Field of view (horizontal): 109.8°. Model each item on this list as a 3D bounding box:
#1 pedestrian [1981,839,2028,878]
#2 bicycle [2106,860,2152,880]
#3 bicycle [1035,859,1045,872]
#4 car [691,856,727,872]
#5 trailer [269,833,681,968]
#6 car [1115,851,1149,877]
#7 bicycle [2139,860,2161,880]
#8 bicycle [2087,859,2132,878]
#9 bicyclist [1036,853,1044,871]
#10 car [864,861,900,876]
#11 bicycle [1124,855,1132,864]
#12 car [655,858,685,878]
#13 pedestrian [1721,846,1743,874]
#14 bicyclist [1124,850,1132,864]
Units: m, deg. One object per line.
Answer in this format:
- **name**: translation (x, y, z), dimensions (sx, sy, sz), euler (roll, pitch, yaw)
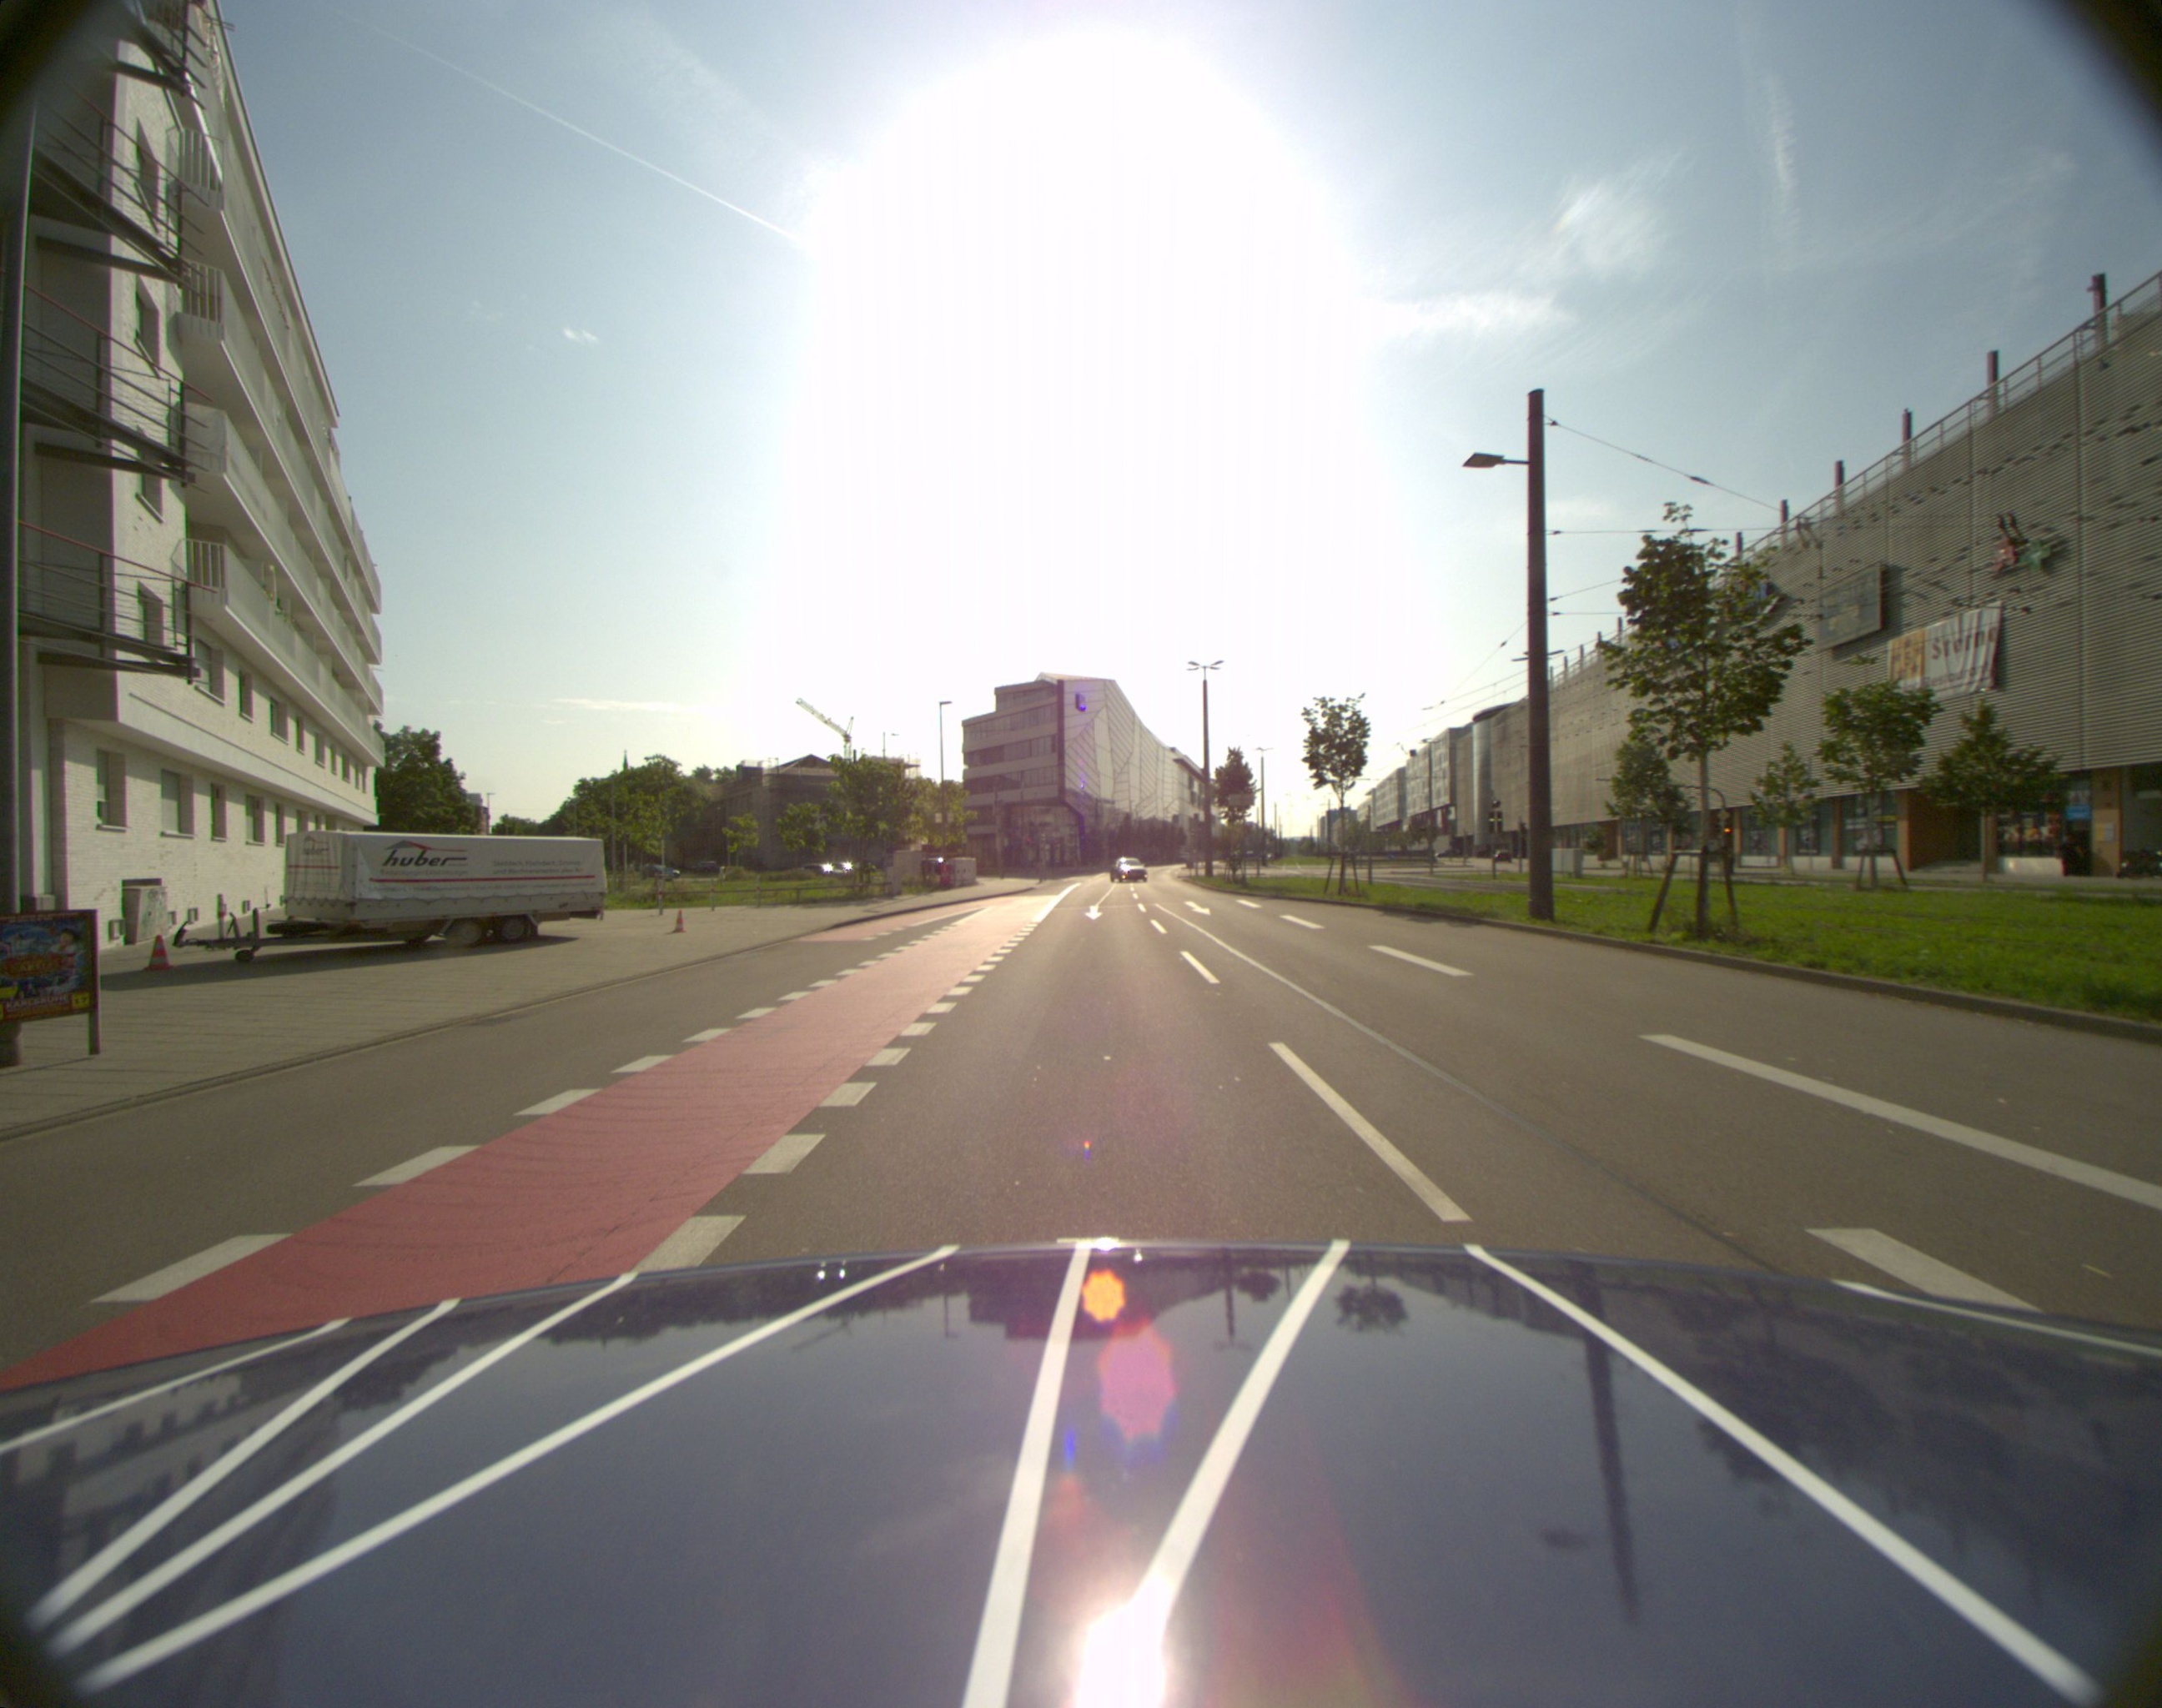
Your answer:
- **pedestrian**: translation (41.572, 0.189, 34.226), dimensions (0.818, 1.709, 1.178), euler (-1, 0, 15)
- **bicycle**: translation (41.421, 0.628, 30.029), dimensions (1.004, 0.747, 0.452), euler (-1, 0, 16)
- **bicycle**: translation (-3.768, 1.023, 69.480), dimensions (0.669, 1.092, 1.805), euler (-1, 2, 4)
- **car**: translation (-46.255, 1.228, 94.562), dimensions (4.801, 1.773, 1.959), euler (1, 2, 36)
- **trailer**: translation (-11.532, 0.733, 15.207), dimensions (2.391, 2.138, 5.960), euler (-1, 0, 26)
- **car**: translation (3.010, 0.567, 45.831), dimensions (1.643, 1.411, 3.894), euler (-1, 1, -2)
- **bicycle**: translation (41.093, 0.620, 28.882), dimensions (1.022, 0.747, 0.361), euler (-1, 1, 16)
- **bicycle**: translation (41.631, 0.604, 30.763), dimensions (1.004, 0.747, 0.452), euler (-1, 0, 16)
- **bicyclist**: translation (-3.766, 0.731, 69.565), dimensions (0.669, 1.693, 0.637), euler (-1, 2, 4)
- **car**: translation (-18.585, 1.354, 71.014), dimensions (3.156, 1.335, 1.591), euler (-1, 0, 34)
- **bicycle**: translation (5.625, 0.655, 91.186), dimensions (0.418, 1.050, 1.962), euler (0, 2, 21)
- **car**: translation (-41.970, 1.394, 77.492), dimensions (2.004, 2.002, 3.989), euler (-1, 0, -39)
- **pedestrian**: translation (38.063, 0.348, 44.444), dimensions (0.762, 1.570, 0.590), euler (-1, 1, 11)
- **bicyclist**: translation (5.641, 0.334, 91.152), dimensions (0.782, 1.577, 0.933), euler (0, 2, 21)
